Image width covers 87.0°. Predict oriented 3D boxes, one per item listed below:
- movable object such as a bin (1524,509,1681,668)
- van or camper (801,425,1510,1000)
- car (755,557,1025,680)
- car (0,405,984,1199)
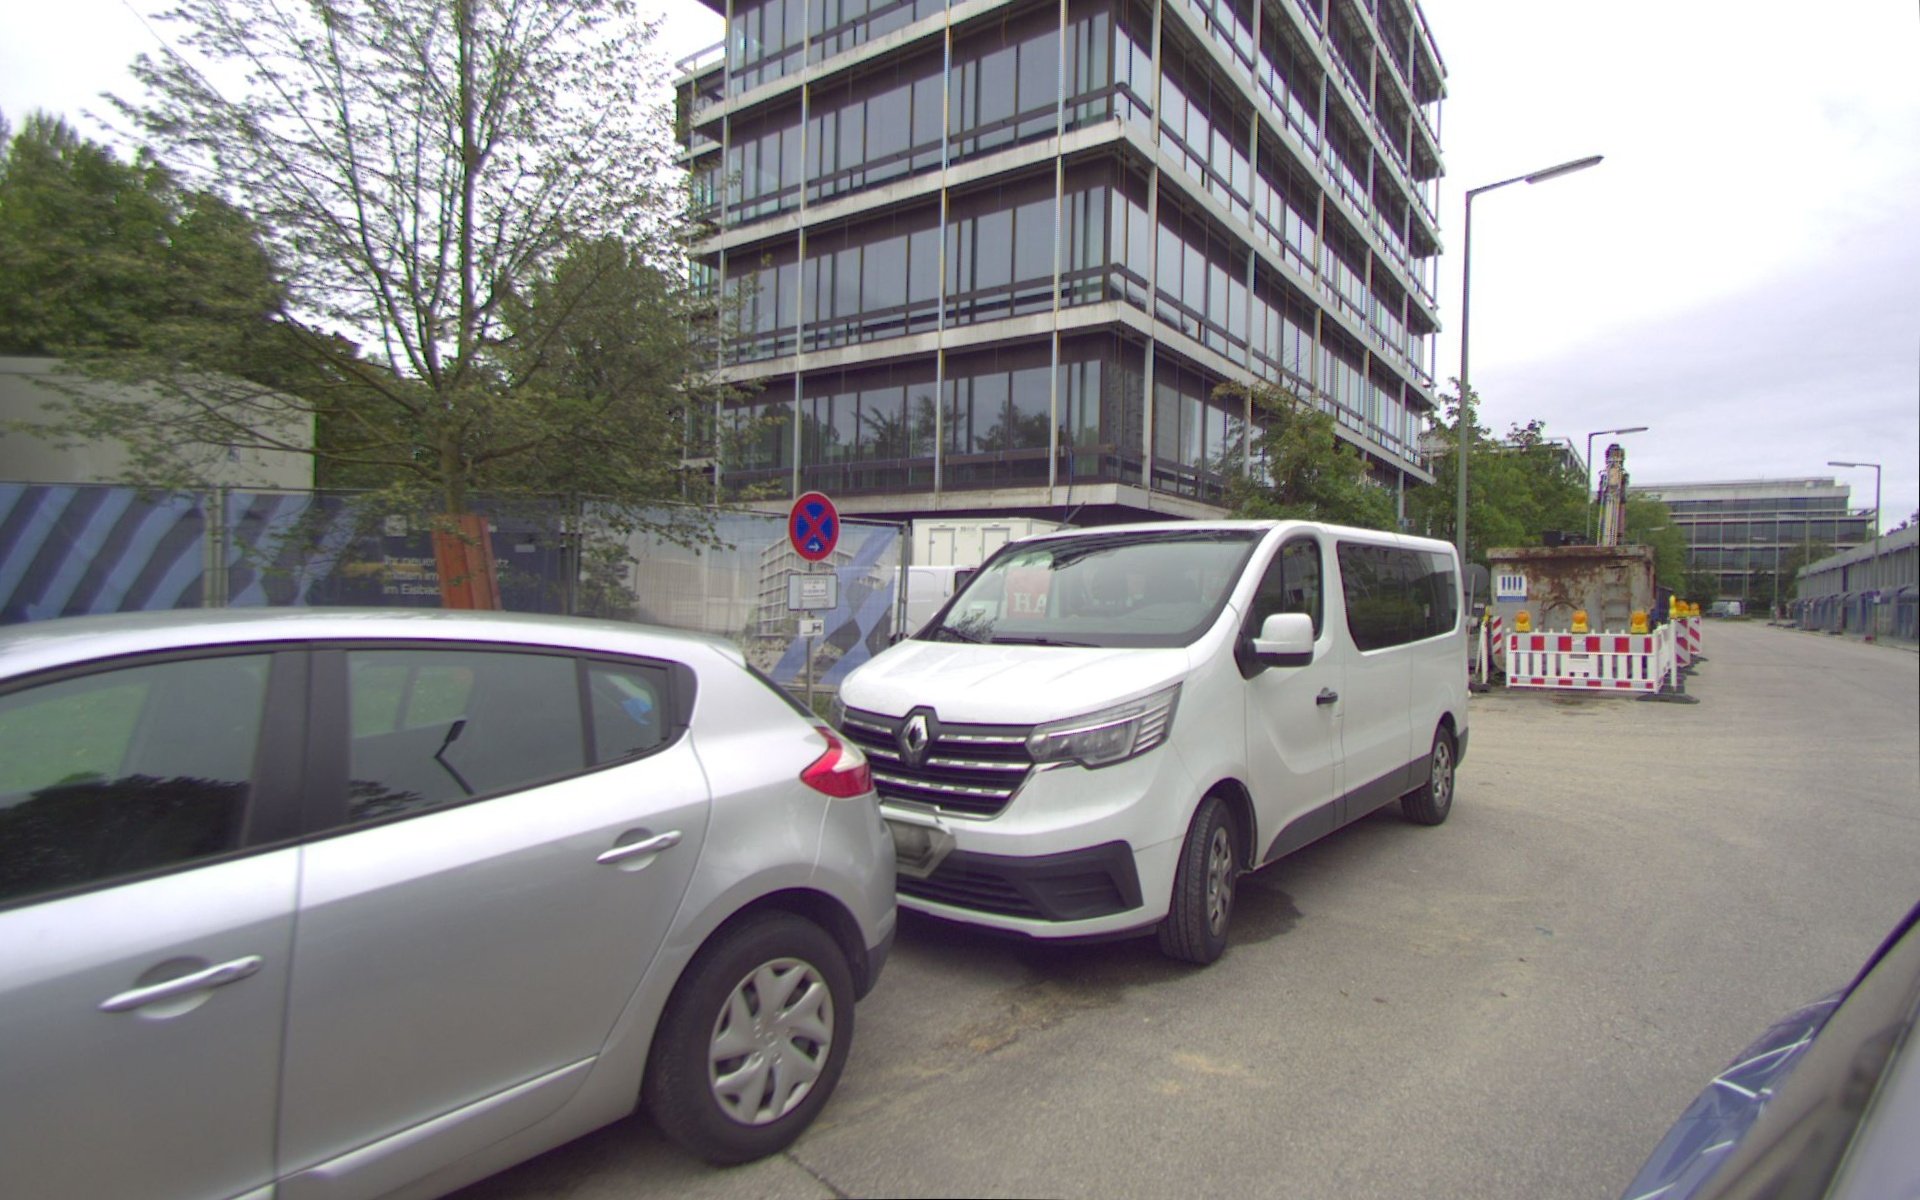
[{"bbox_3d":[18.312,-0.317,28.619,3.231,3.763,8.894,1,1,35],"label":"movable object such as a bin"},{"bbox_3d":[1.696,0.377,6.272,1.991,2.039,5.298,2,1,40],"label":"van or camper"},{"bbox_3d":[-1.351,0.264,18.203,4.751,1.946,1.973,1,0,38],"label":"car"},{"bbox_3d":[-2.128,0.579,2.327,1.993,1.750,4.381,-1,-1,43],"label":"car"}]
